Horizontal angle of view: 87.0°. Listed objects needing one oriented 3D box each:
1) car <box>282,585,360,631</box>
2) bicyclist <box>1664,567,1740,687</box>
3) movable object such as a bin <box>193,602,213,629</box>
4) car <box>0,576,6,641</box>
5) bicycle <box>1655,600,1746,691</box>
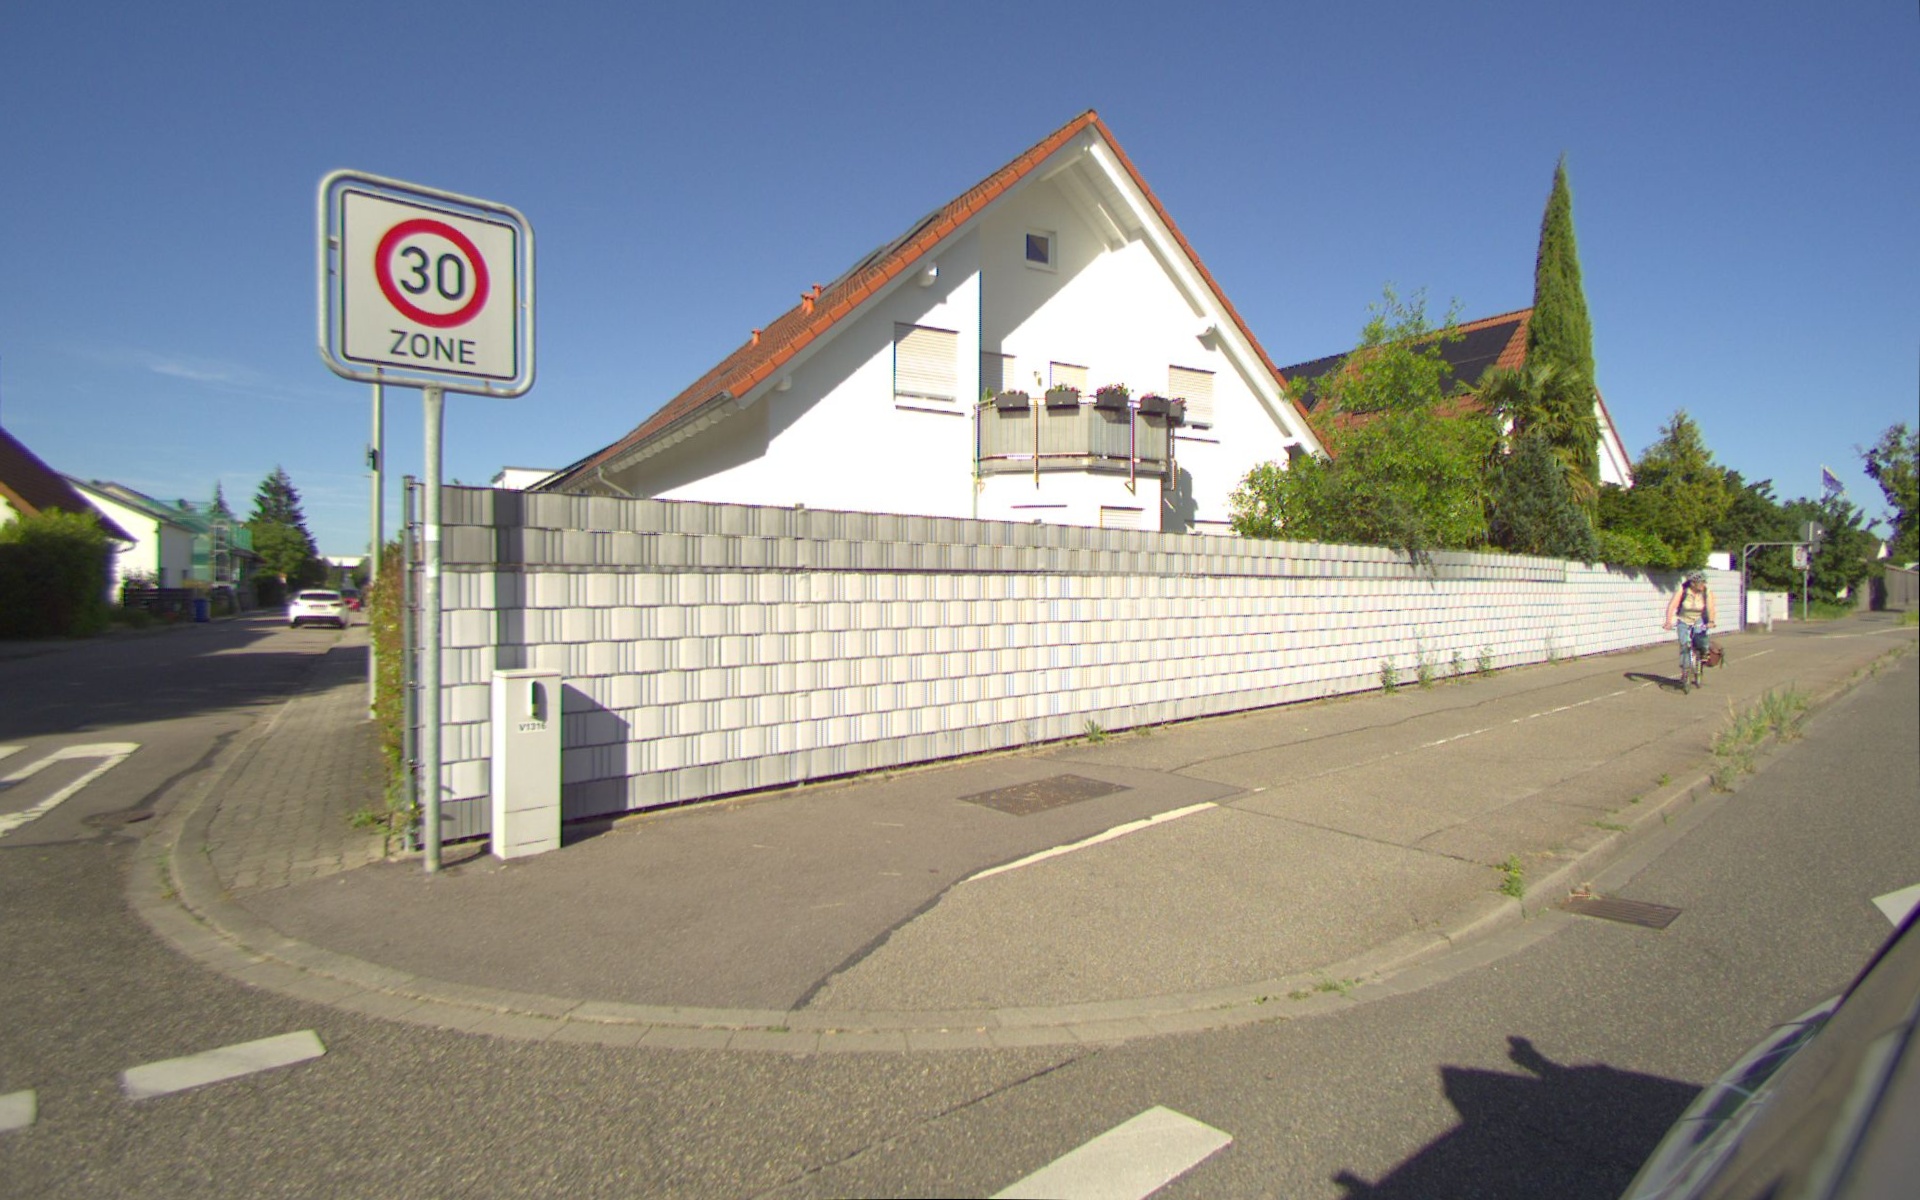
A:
[{"bbox_3d":[-24.319,0.348,38.651,1.900,1.538,4.234,-3,-1,-25],"label":"car"},{"bbox_3d":[10.694,0.365,14.577,0.964,1.653,0.631,-1,3,-41],"label":"bicyclist"},{"bbox_3d":[-33.486,0.684,44.782,0.650,1.130,0.595,-2,-1,-41],"label":"movable object such as a bin"},{"bbox_3d":[-25.850,0.271,24.466,3.704,1.672,1.896,-3,-1,-32],"label":"car"},{"bbox_3d":[10.732,0.621,14.636,2.103,1.169,0.575,-1,3,-41],"label":"bicycle"}]
